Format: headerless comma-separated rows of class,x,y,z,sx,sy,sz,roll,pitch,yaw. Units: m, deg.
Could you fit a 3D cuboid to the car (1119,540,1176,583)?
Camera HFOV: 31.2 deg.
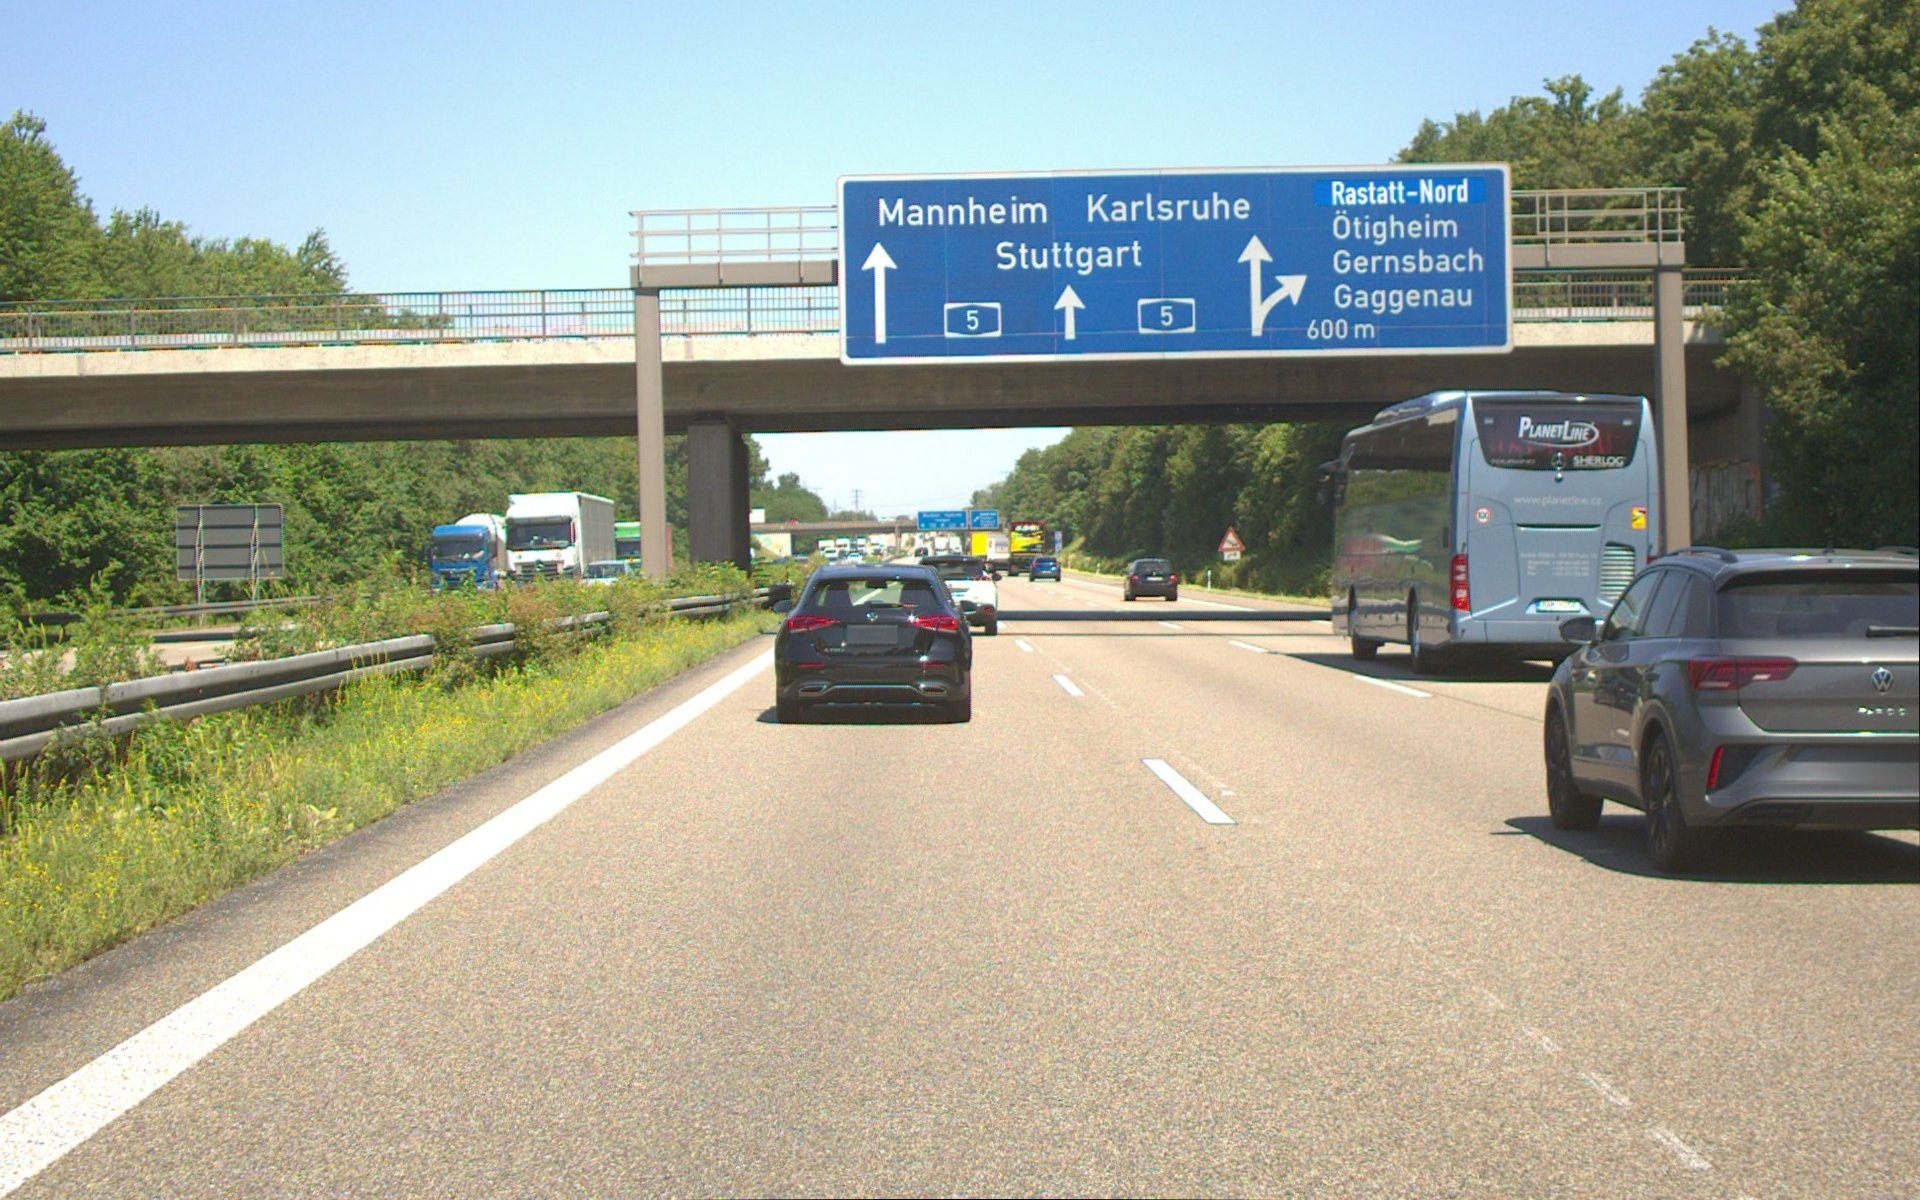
car,6.526,-1.341,119.759,1.789,1.456,3.949,0,1,0

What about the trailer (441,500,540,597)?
trailer,-19.413,-2.165,142.777,2.358,3.781,12.075,-2,1,0

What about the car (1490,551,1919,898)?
car,4.110,0.526,17.723,1.899,1.527,4.760,0,1,-1

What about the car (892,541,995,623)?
car,-0.348,-0.376,66.562,1.899,1.527,4.242,0,1,-1

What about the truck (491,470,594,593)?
truck,-14.941,-2.449,123.386,2.828,4.197,5.889,-2,1,0

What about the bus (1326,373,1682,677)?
bus,7.104,-0.971,46.905,2.802,3.584,12.475,0,1,0

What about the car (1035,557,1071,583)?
car,5.579,-1.802,207.394,2.081,1.527,4.241,0,1,0

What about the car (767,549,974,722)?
car,-0.836,0.278,32.099,1.799,1.497,4.242,0,1,-1

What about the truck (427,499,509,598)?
truck,-19.357,-2.037,135.599,2.359,3.762,5.252,-2,1,0

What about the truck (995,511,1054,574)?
truck,4.755,-4.262,257.841,3.647,4.574,15.768,1,1,-1
